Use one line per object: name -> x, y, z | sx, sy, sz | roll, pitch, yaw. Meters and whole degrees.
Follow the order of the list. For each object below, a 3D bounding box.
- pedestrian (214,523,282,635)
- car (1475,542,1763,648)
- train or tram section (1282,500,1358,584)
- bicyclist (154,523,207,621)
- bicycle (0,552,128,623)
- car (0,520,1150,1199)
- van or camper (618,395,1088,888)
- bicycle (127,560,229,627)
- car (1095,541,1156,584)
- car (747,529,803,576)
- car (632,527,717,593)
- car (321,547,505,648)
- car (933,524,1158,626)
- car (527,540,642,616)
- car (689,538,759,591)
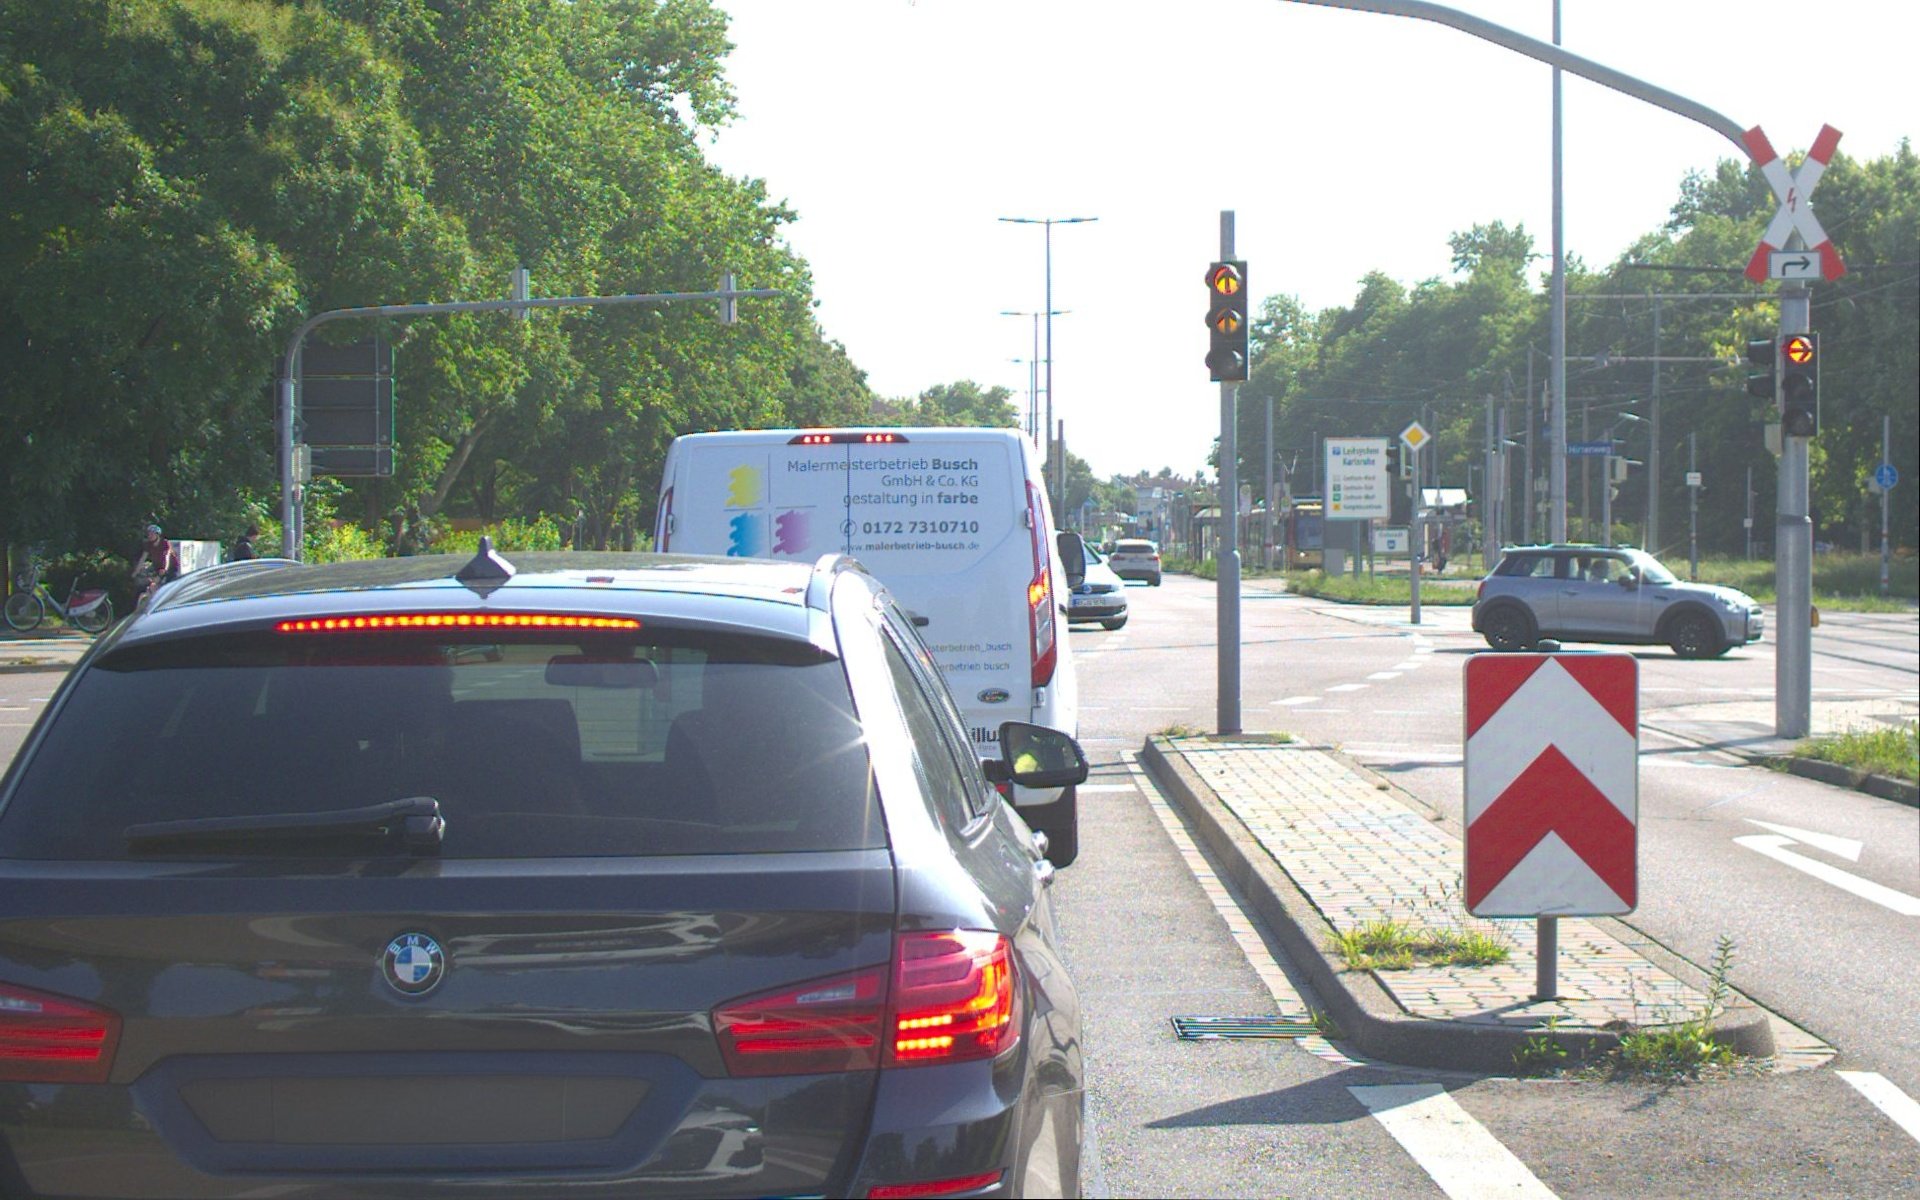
pedestrian -> -11.275, -0.341, 54.480 | 0.816, 1.746, 0.931 | 0, 1, 5
car -> 8.855, -0.087, 46.204 | 3.522, 1.379, 1.604 | 0, 1, 24
train or tram section -> 16.209, -2.585, 155.441 | 2.796, 3.606, 12.954 | 1, 1, 3
bicyclist -> -12.445, -0.451, 54.876 | 0.608, 1.555, 0.602 | 0, 1, 17
bicycle -> -14.268, -0.202, 54.653 | 1.909, 1.115, 0.632 | 0, 1, 0
car -> -0.724, 0.609, 6.446 | 1.903, 1.500, 4.065 | 0, 1, 0
van or camper -> -0.416, 0.132, 16.876 | 1.993, 2.089, 4.598 | 0, 1, 1
bicycle -> -12.461, -0.119, 54.827 | 0.620, 1.037, 2.070 | 0, 1, 18
car -> 5.825, -1.332, 121.364 | 1.793, 1.481, 3.900 | 0, 1, -2
car -> -6.115, -1.584, 113.959 | 1.788, 1.515, 4.001 | -1, 1, -2
car -> -7.120, -1.016, 86.018 | 1.745, 1.556, 4.000 | -2, 1, 0
car -> -8.075, -0.071, 51.104 | 1.780, 1.410, 4.244 | 0, 1, 4
car -> 1.310, -0.430, 54.755 | 1.849, 1.557, 4.205 | -1, 1, -26
car -> -7.801, -0.478, 71.801 | 1.702, 1.460, 4.369 | -1, 1, 2
car -> -6.752, -1.031, 98.702 | 1.888, 1.469, 4.100 | -1, 1, -2
